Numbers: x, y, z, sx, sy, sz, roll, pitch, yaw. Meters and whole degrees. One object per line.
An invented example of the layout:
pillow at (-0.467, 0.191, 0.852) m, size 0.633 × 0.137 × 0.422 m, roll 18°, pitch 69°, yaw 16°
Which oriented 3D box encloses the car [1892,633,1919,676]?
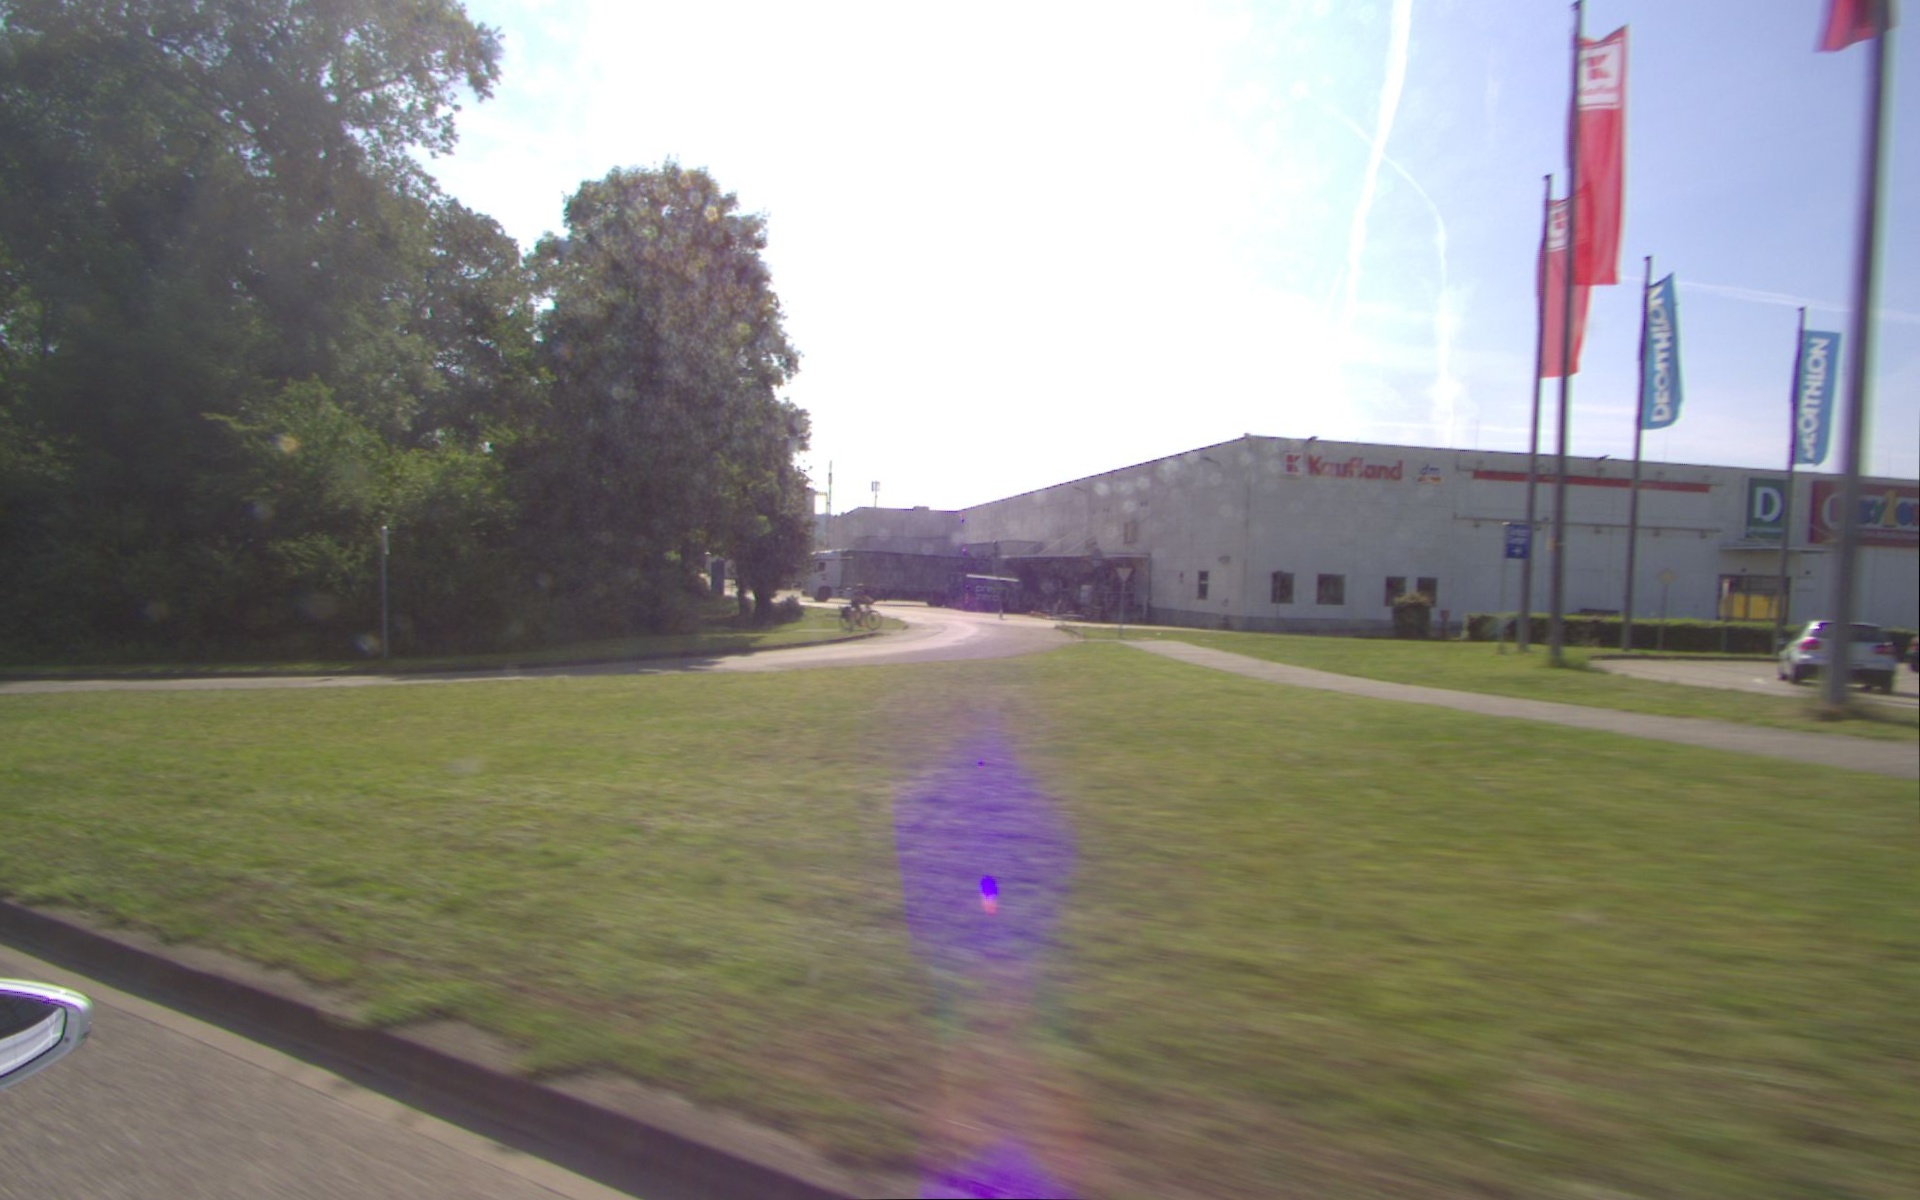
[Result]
car at (32.217, 1.836, 32.009) m, size 3.673 × 1.349 × 1.777 m, roll 3°, pitch 0°, yaw -14°

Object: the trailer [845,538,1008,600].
trailer at (-2.705, -2.459, 80.409) m, size 12.489 × 4.478 × 3.747 m, roll 1°, pitch 3°, yaw -16°

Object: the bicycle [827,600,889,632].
bicycle at (-3.731, 0.584, 36.531) m, size 2.150 × 0.991 × 0.723 m, roll 4°, pitch 3°, yaw 24°

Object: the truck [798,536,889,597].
truck at (-9.167, -2.614, 78.562) m, size 6.451 × 4.478 × 3.746 m, roll 1°, pitch 3°, yaw -17°

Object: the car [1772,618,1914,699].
car at (19.739, 1.261, 22.557) m, size 1.836 × 1.549 × 4.121 m, roll 3°, pitch 0°, yaw 35°

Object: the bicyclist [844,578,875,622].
bicyclist at (-3.660, -0.011, 36.474) m, size 0.832 × 1.555 × 0.675 m, roll 3°, pitch 3°, yaw 23°
